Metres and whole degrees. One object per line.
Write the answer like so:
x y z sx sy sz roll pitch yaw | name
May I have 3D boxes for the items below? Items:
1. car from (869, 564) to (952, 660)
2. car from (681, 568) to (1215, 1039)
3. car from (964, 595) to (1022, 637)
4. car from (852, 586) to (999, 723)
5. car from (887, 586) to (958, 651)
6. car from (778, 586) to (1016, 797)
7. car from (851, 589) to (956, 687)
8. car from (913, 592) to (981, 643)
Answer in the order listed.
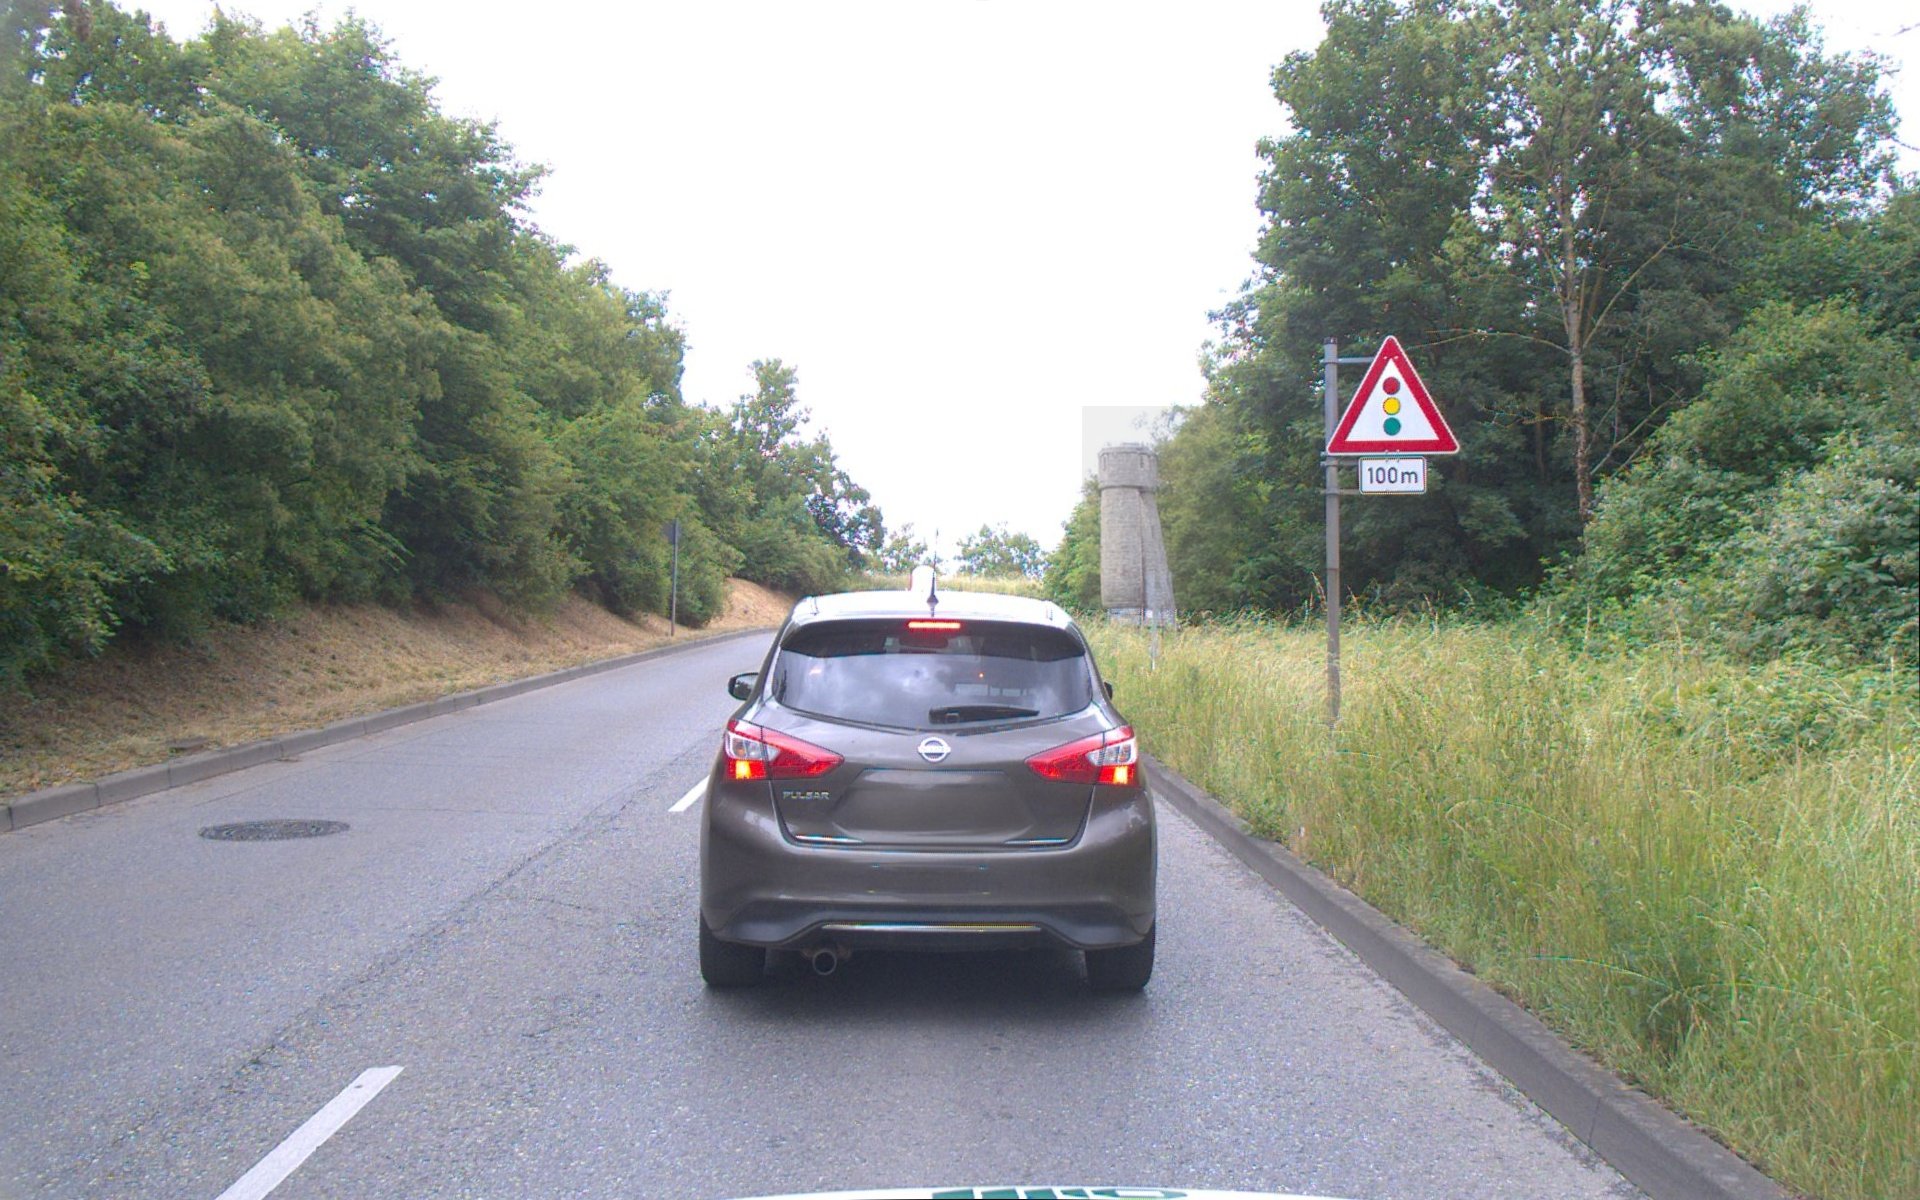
-1.056 0.239 35.668 1.701 1.968 3.542 0 0 -2 | car
-0.104 0.686 7.347 1.793 1.583 3.497 1 0 -3 | car
1.313 0.593 63.849 1.699 1.553 3.644 0 0 10 | car
-0.412 0.622 20.878 1.700 1.583 3.543 0 0 -1 | car
-0.975 0.432 41.647 1.701 1.553 3.542 0 0 -2 | car
-0.490 0.682 14.281 1.793 1.583 3.624 0 0 -1 | car
-0.930 0.609 28.654 1.700 1.583 3.543 0 0 -1 | car
-0.362 0.517 51.675 1.699 1.553 3.644 0 0 6 | car
